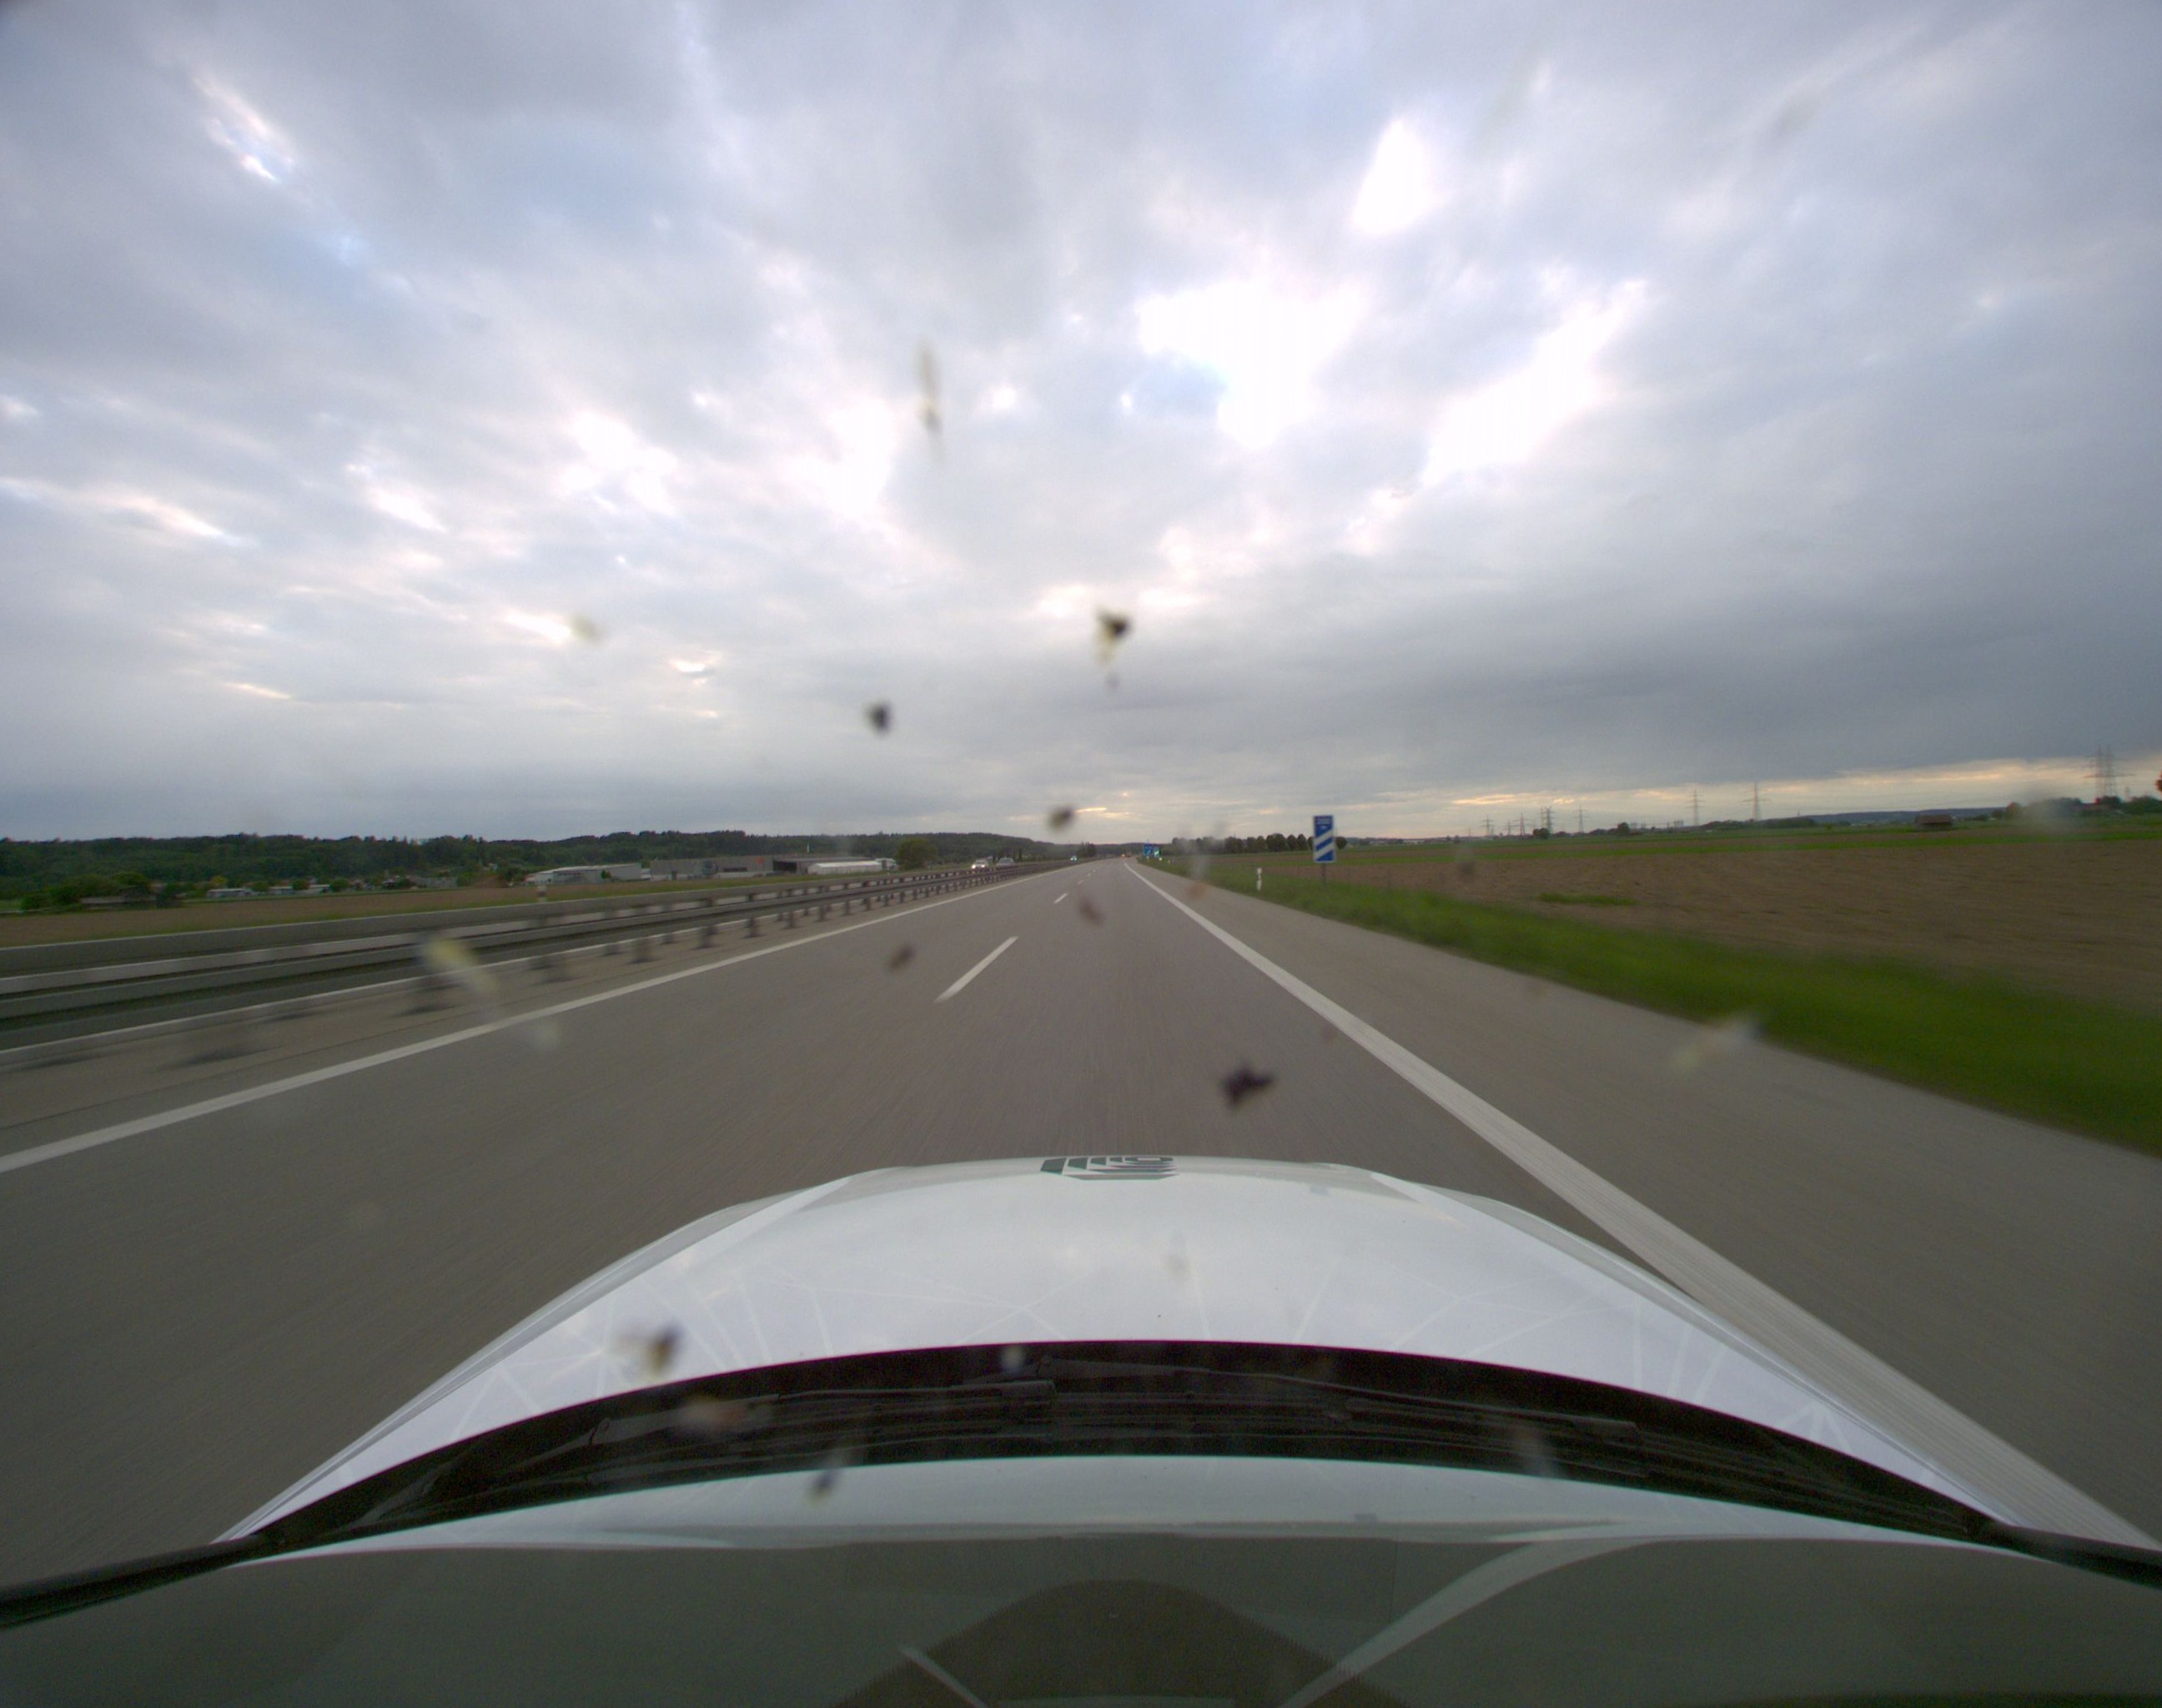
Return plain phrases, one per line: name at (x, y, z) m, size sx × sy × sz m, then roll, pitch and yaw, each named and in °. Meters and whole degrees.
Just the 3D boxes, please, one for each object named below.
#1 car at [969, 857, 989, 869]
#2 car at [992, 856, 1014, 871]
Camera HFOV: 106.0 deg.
car at (-13.771, 1.178, 110.154) m, size 1.986 × 1.496 × 4.763 m, roll -2°, pitch 0°, yaw 1°
car at (-9.282, 1.152, 97.509) m, size 1.986 × 1.701 × 4.304 m, roll -1°, pitch 0°, yaw 2°
